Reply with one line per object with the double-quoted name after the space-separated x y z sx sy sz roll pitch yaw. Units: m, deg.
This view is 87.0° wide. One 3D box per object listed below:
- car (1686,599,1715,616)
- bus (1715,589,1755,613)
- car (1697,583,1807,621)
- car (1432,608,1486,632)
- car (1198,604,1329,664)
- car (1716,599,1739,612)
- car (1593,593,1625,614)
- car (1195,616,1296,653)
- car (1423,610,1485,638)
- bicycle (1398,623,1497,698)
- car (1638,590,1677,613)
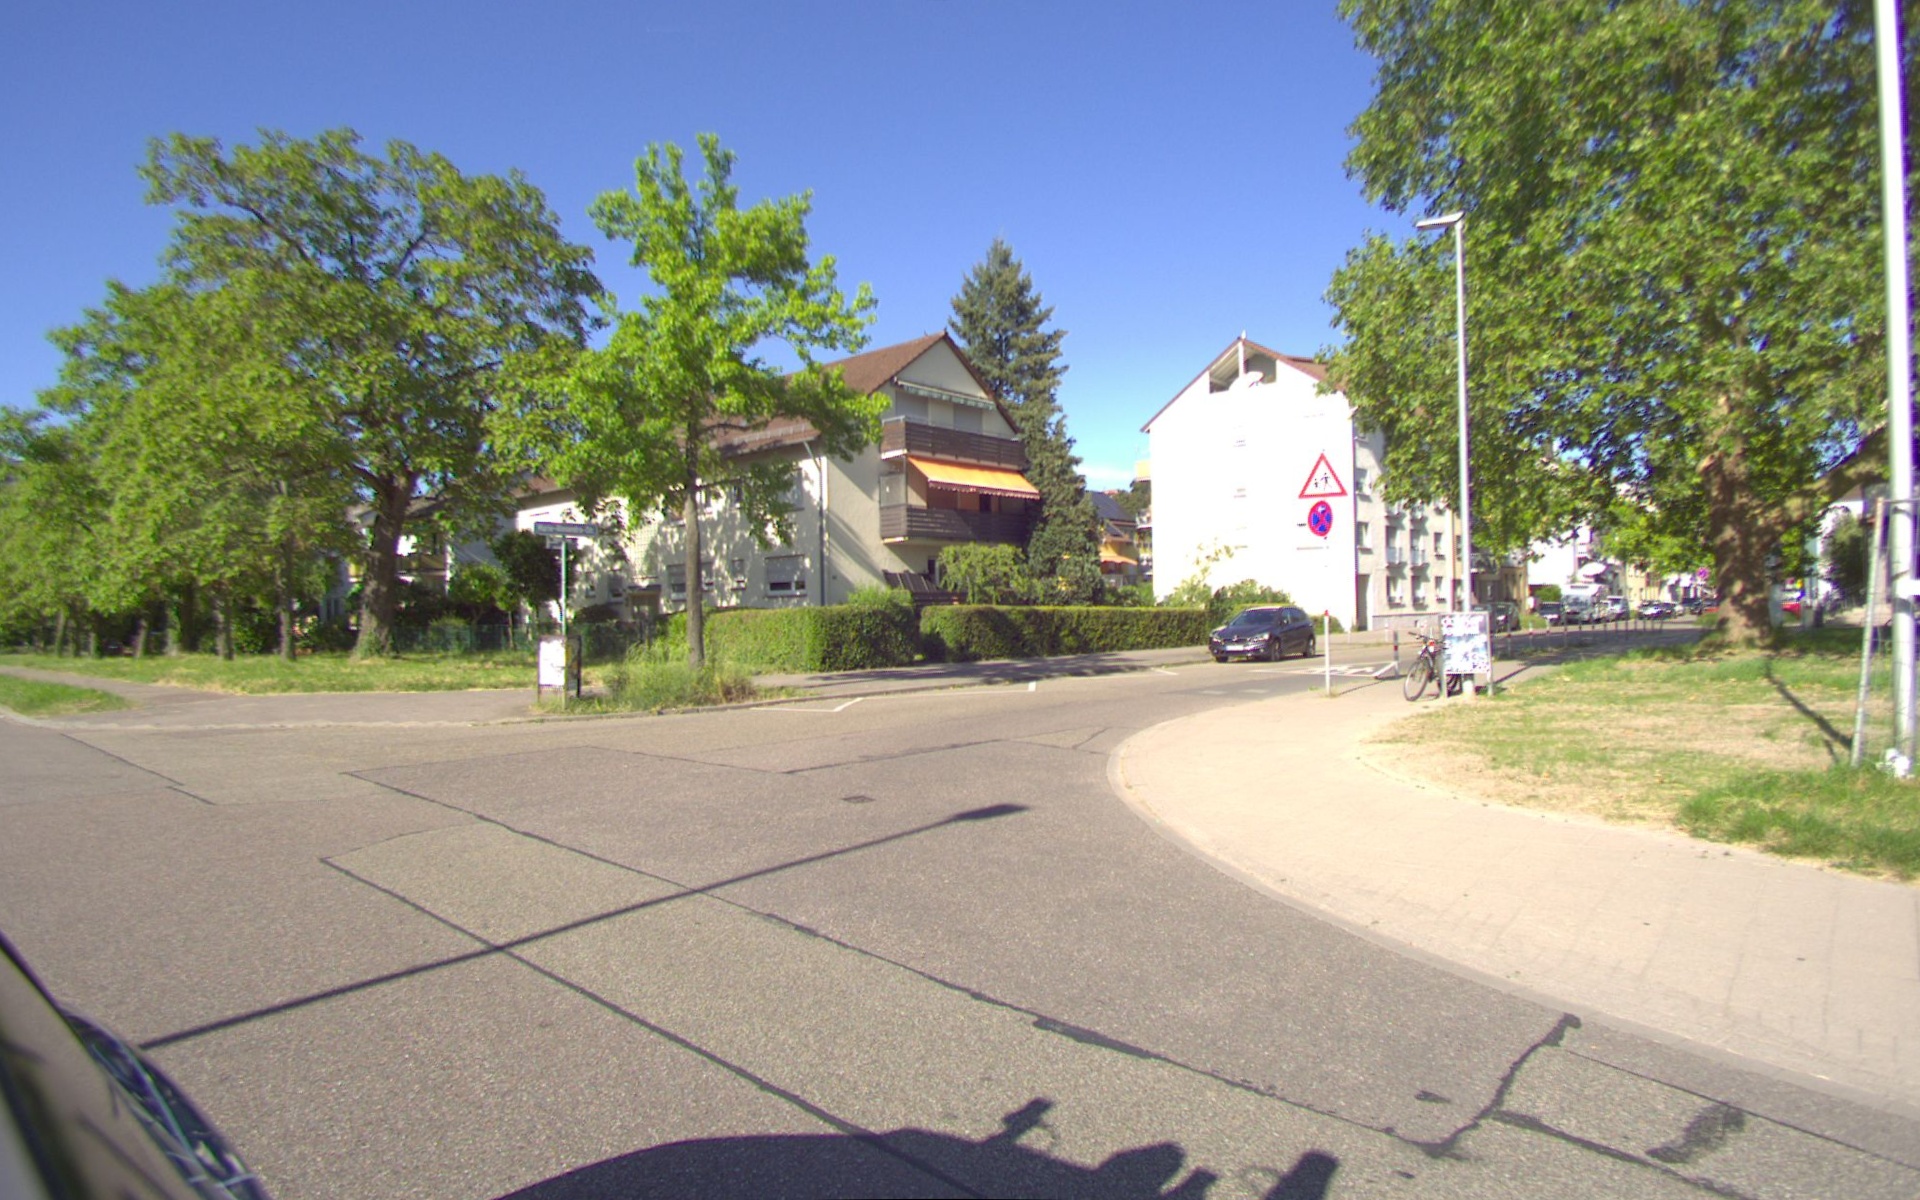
81.356 0.793 111.179 2.000 1.763 3.943 -2 -1 43 "car"
88.833 0.066 115.954 2.798 2.528 10.052 -2 0 42 "bus"
44.393 0.132 56.774 4.681 2.029 1.971 -2 -1 44 "car"
25.792 1.036 52.274 1.538 1.202 3.946 -2 -2 41 "car"
8.825 0.962 29.265 2.115 1.469 4.054 -5 -2 40 "car"
109.497 0.735 144.348 3.941 1.763 2.001 -1 -1 -44 "car"
53.458 0.261 83.292 1.996 1.684 3.952 -2 -1 35 "car"
9.518 1.115 33.576 1.630 1.039 3.968 -2 0 42 "car"
22.793 1.092 46.631 1.538 1.202 3.946 -2 -2 41 "car"
7.215 0.878 14.953 1.574 0.992 0.501 -2 -2 -32 "bicycle"
57.202 0.112 83.020 2.000 1.763 3.943 -2 -1 43 "car"
